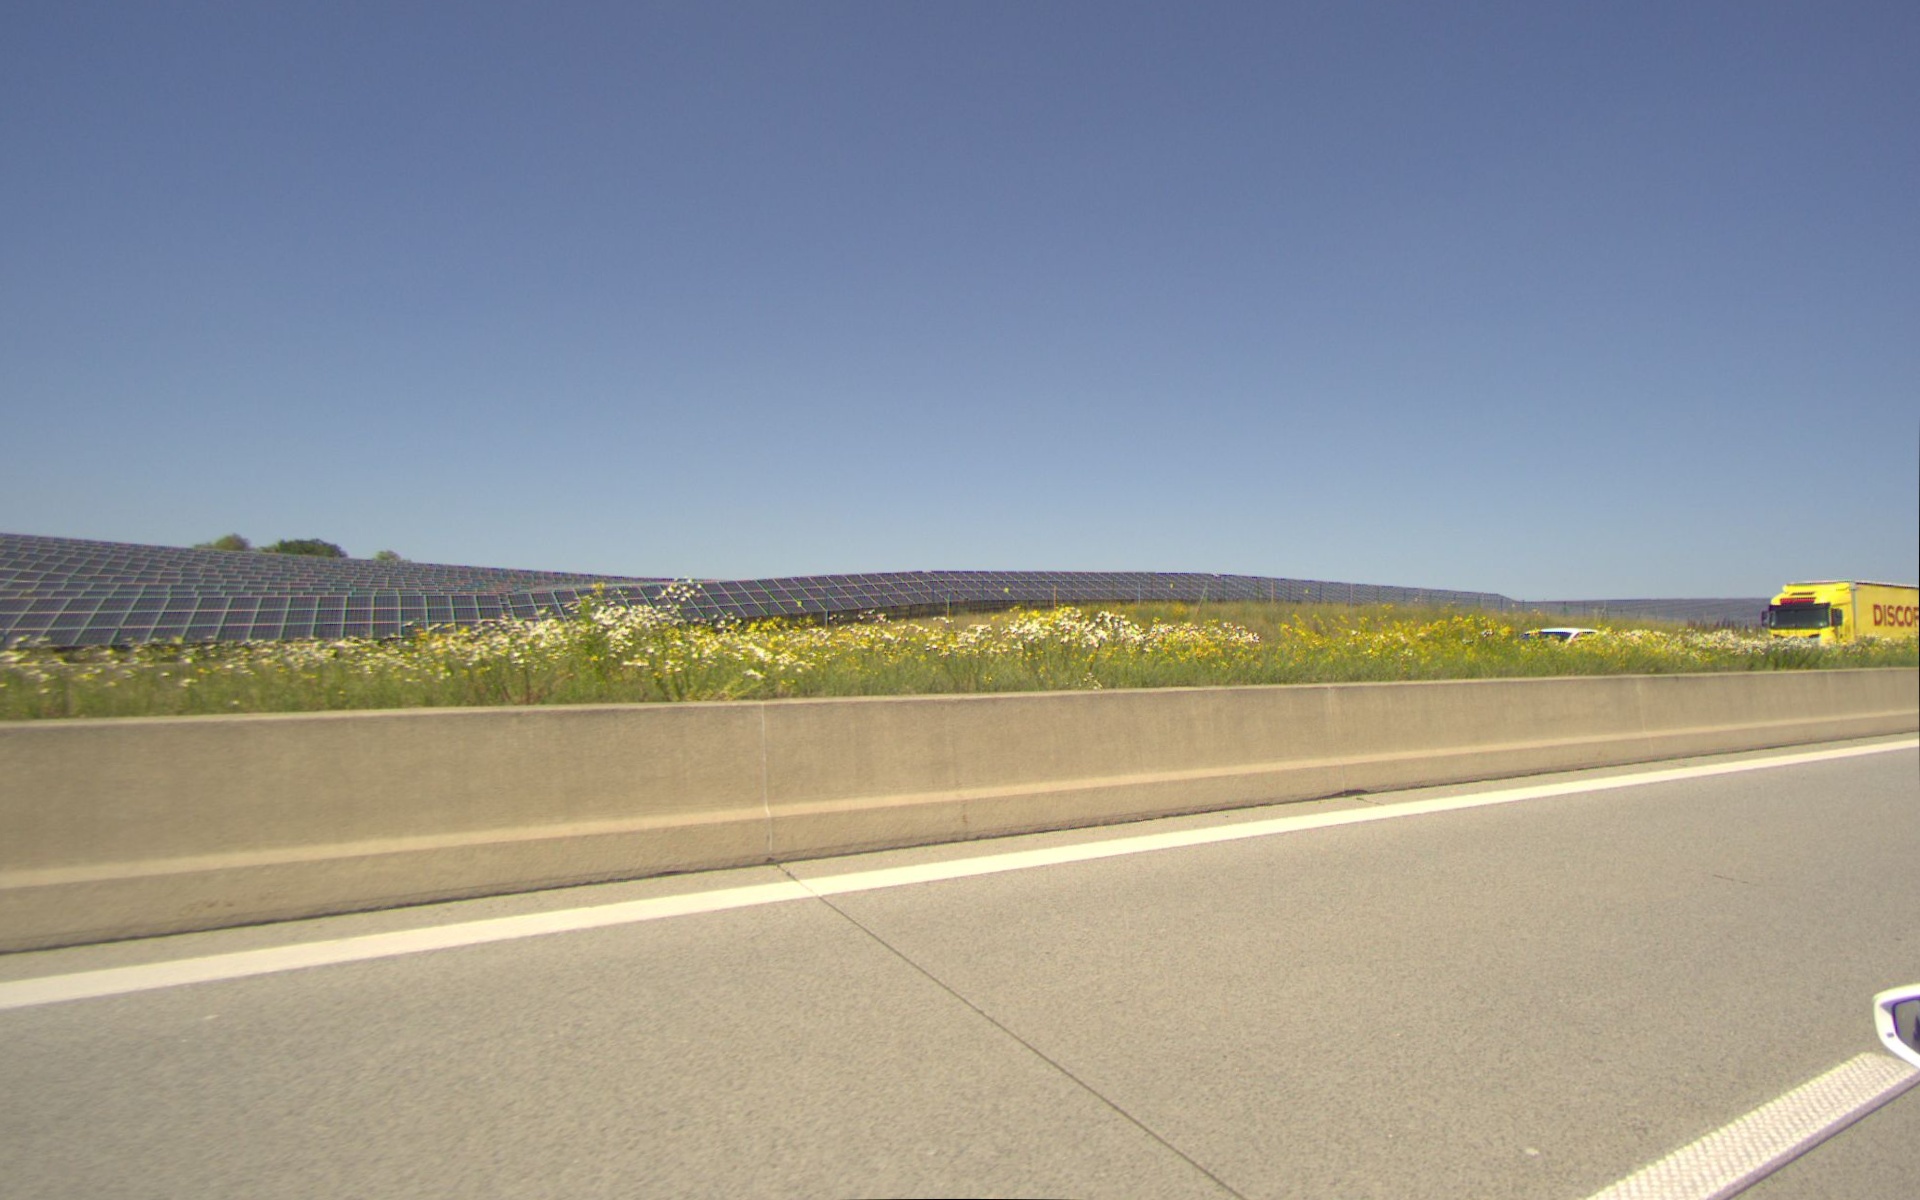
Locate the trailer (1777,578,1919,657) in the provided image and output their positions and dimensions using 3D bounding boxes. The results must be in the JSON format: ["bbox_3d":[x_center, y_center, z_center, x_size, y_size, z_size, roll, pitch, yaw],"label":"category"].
[{"bbox_3d":[46.217,0.993,50.775,13.856,3.598,2.917,2,0,-30],"label":"trailer"}]

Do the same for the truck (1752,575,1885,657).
[{"bbox_3d":[40.607,0.820,47.481,6.273,3.586,2.909,2,-2,-30],"label":"truck"}]

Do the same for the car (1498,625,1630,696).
[{"bbox_3d":[14.203,1.402,23.601,2.931,1.503,1.399,2,0,-30],"label":"car"}]
